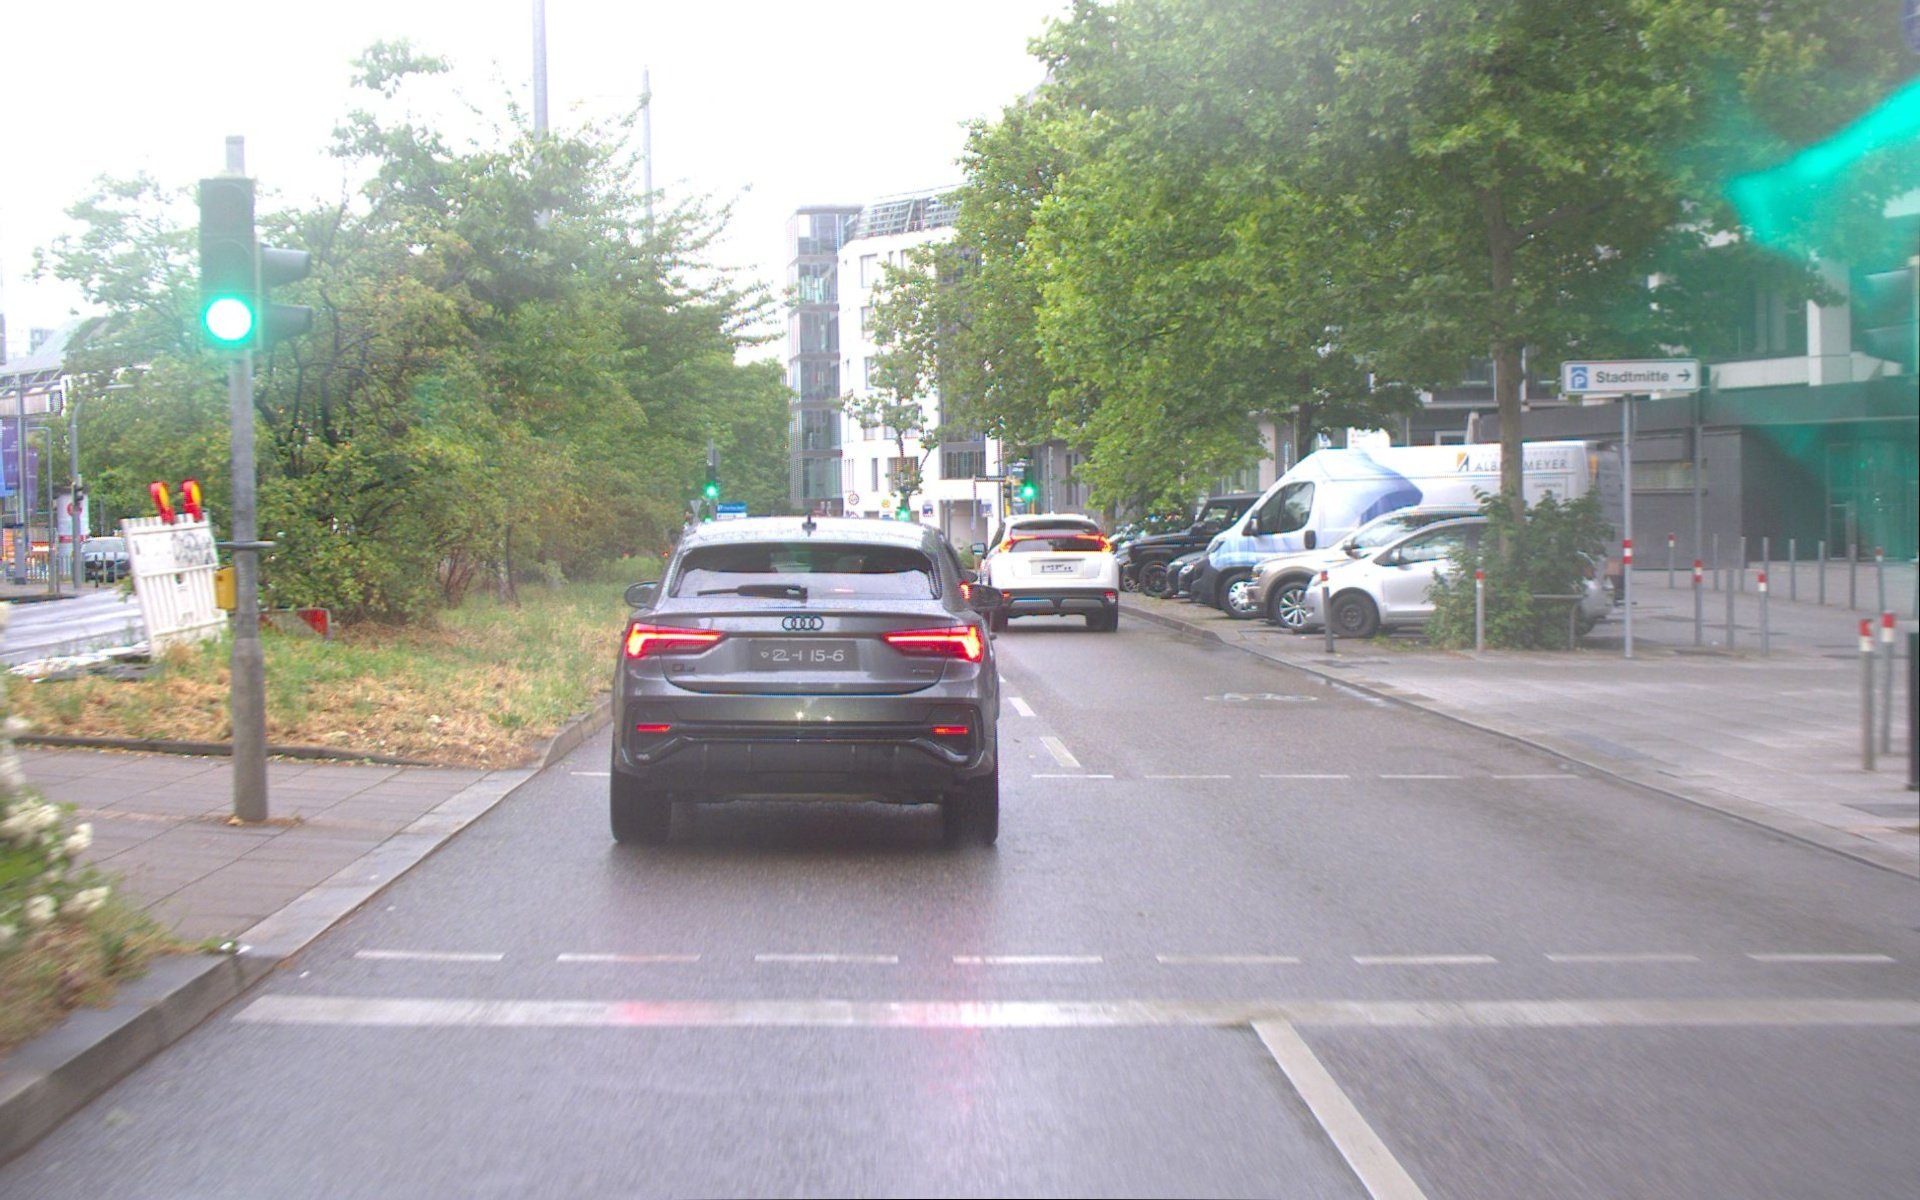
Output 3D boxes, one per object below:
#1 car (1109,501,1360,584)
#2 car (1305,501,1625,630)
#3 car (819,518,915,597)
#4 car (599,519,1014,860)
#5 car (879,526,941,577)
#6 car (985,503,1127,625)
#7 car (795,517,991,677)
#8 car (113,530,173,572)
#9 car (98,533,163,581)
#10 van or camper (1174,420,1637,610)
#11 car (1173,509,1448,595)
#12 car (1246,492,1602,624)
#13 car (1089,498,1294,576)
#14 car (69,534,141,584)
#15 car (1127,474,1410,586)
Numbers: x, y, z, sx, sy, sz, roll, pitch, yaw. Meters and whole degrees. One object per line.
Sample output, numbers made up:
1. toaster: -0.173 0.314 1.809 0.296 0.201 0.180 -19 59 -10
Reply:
1. car: 5.427 -1.136 67.976 4.559 1.501 1.867 -1 1 23
2. car: 6.221 -0.441 42.252 3.652 1.542 1.713 0 1 18
3. car: -1.830 -0.865 68.211 1.849 1.518 4.039 0 1 -1
4. car: -0.745 0.360 17.380 1.849 1.518 4.039 0 1 -2
5. car: -1.534 -1.495 104.899 1.849 1.518 4.039 0 1 -1
6. car: 1.335 -0.533 49.148 1.849 1.663 4.039 0 1 -1
7. car: -0.669 -0.071 34.620 1.849 1.518 4.039 0 1 -1
8. car: -29.462 -1.759 124.105 1.725 1.446 3.594 -2 1 -8
9. car: -28.576 -1.476 118.537 1.808 1.543 4.001 -2 1 -9
10. van or camper: 6.228 -1.156 48.208 6.074 2.549 2.102 0 1 26
11. car: 6.031 -0.820 59.171 4.370 1.431 1.759 0 1 25
12. car: 6.061 -0.565 44.918 4.262 1.662 1.816 1 1 25
13. car: 5.273 -1.437 78.318 4.223 1.663 1.837 -1 1 26
14. car: -27.549 -1.326 110.888 1.874 1.530 4.078 -2 1 -9
15. car: 5.826 -1.317 65.005 4.943 1.971 1.927 -1 1 25
